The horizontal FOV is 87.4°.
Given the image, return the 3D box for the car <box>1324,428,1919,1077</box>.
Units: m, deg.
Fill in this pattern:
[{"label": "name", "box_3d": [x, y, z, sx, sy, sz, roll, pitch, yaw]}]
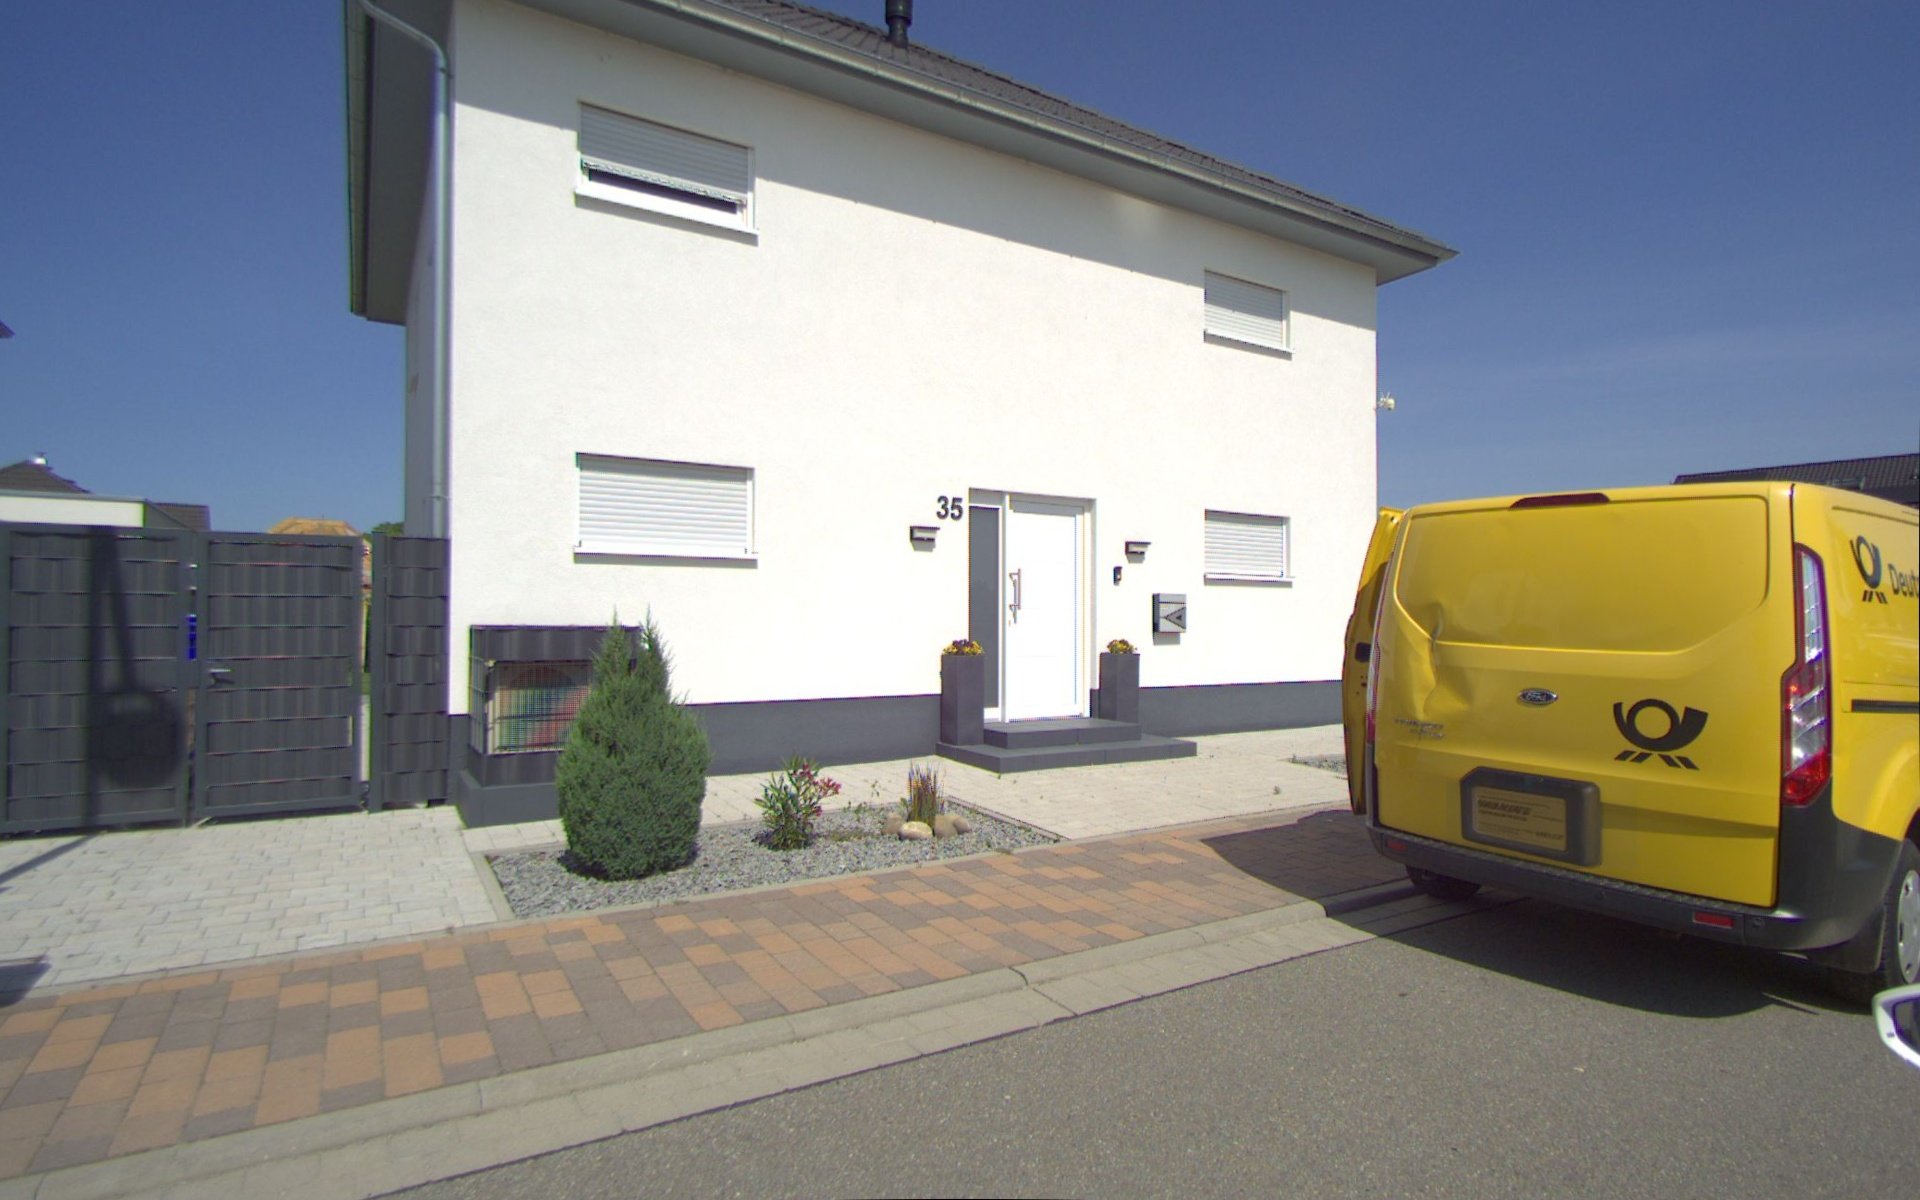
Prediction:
[{"label": "car", "box_3d": [4.178, 0.523, 5.350, 4.795, 2.040, 1.871, 1, -1, -36]}]
